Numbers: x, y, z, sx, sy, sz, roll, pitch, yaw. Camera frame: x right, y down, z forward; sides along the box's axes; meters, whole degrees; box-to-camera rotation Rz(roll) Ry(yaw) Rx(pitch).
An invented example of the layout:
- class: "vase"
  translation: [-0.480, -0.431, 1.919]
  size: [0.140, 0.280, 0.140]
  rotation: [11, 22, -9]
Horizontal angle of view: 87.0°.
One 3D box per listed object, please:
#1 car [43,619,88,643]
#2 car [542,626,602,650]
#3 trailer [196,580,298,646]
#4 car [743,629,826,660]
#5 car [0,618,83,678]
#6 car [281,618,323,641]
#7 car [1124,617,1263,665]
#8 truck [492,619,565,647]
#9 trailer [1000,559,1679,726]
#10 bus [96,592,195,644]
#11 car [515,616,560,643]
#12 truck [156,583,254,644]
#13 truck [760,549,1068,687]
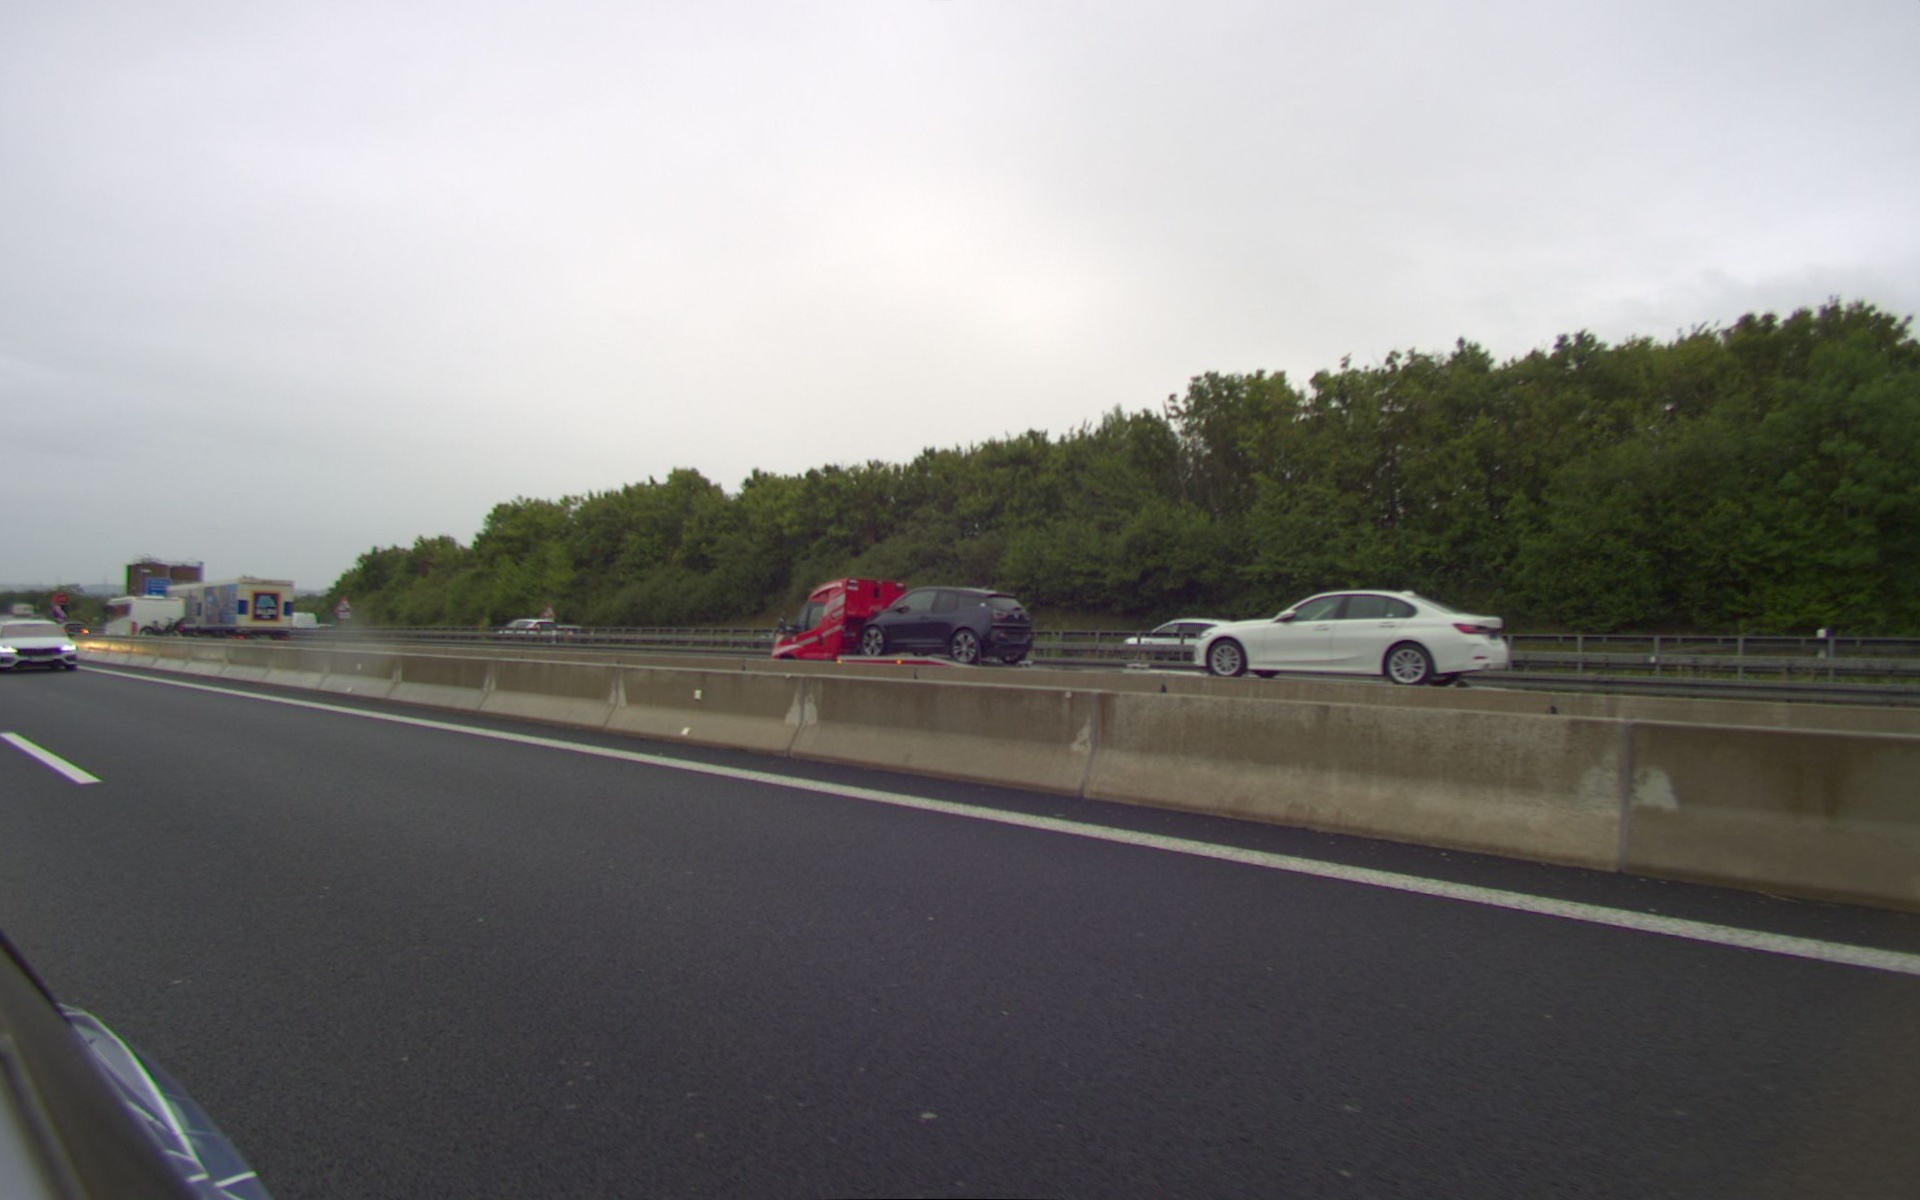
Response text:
- class: "car"
  translation: [-65.824, 2.279, 74.433]
  size: [3.998, 1.630, 1.973]
  rotation: [-2, -1, 41]
- class: "car"
  translation: [-23.122, 2.221, 60.249]
  size: [4.111, 1.380, 1.518]
  rotation: [-1, -2, 40]
- class: "trailer"
  translation: [-40.597, 0.729, 57.497]
  size: [8.047, 3.542, 2.912]
  rotation: [-1, 0, 41]
- class: "car"
  translation: [-8.433, 2.104, 48.545]
  size: [3.997, 1.386, 1.779]
  rotation: [-1, -2, 40]
- class: "car"
  translation: [-27.153, 1.344, 29.357]
  size: [4.814, 1.603, 1.973]
  rotation: [-1, -1, 41]
- class: "car"
  translation: [-64.362, 2.856, 98.947]
  size: [5.711, 2.230, 1.973]
  rotation: [-1, -2, 41]
- class: "car"
  translation: [7.918, 1.352, 34.504]
  size: [4.211, 1.542, 1.972]
  rotation: [-1, -2, 41]
- class: "truck"
  translation: [-24.744, 1.874, 57.987]
  size: [4.465, 1.507, 1.974]
  rotation: [-1, -2, 38]
- class: "trailer"
  translation: [5.438, 0.615, 16.650]
  size: [10.238, 2.029, 2.510]
  rotation: [-1, -2, 41]
- class: "bus"
  translation: [-44.167, 0.970, 54.776]
  size: [8.263, 2.606, 2.516]
  rotation: [-1, 0, 40]
- class: "car"
  translation: [-33.277, 2.302, 79.626]
  size: [3.999, 2.029, 1.731]
  rotation: [-1, -2, 42]
- class: "truck"
  translation: [-47.677, 0.851, 63.722]
  size: [10.636, 3.551, 2.779]
  rotation: [-1, 0, 41]
- class: "truck"
  translation: [-1.221, 0.394, 22.397]
  size: [7.088, 2.613, 2.402]
  rotation: [-1, -1, 40]
